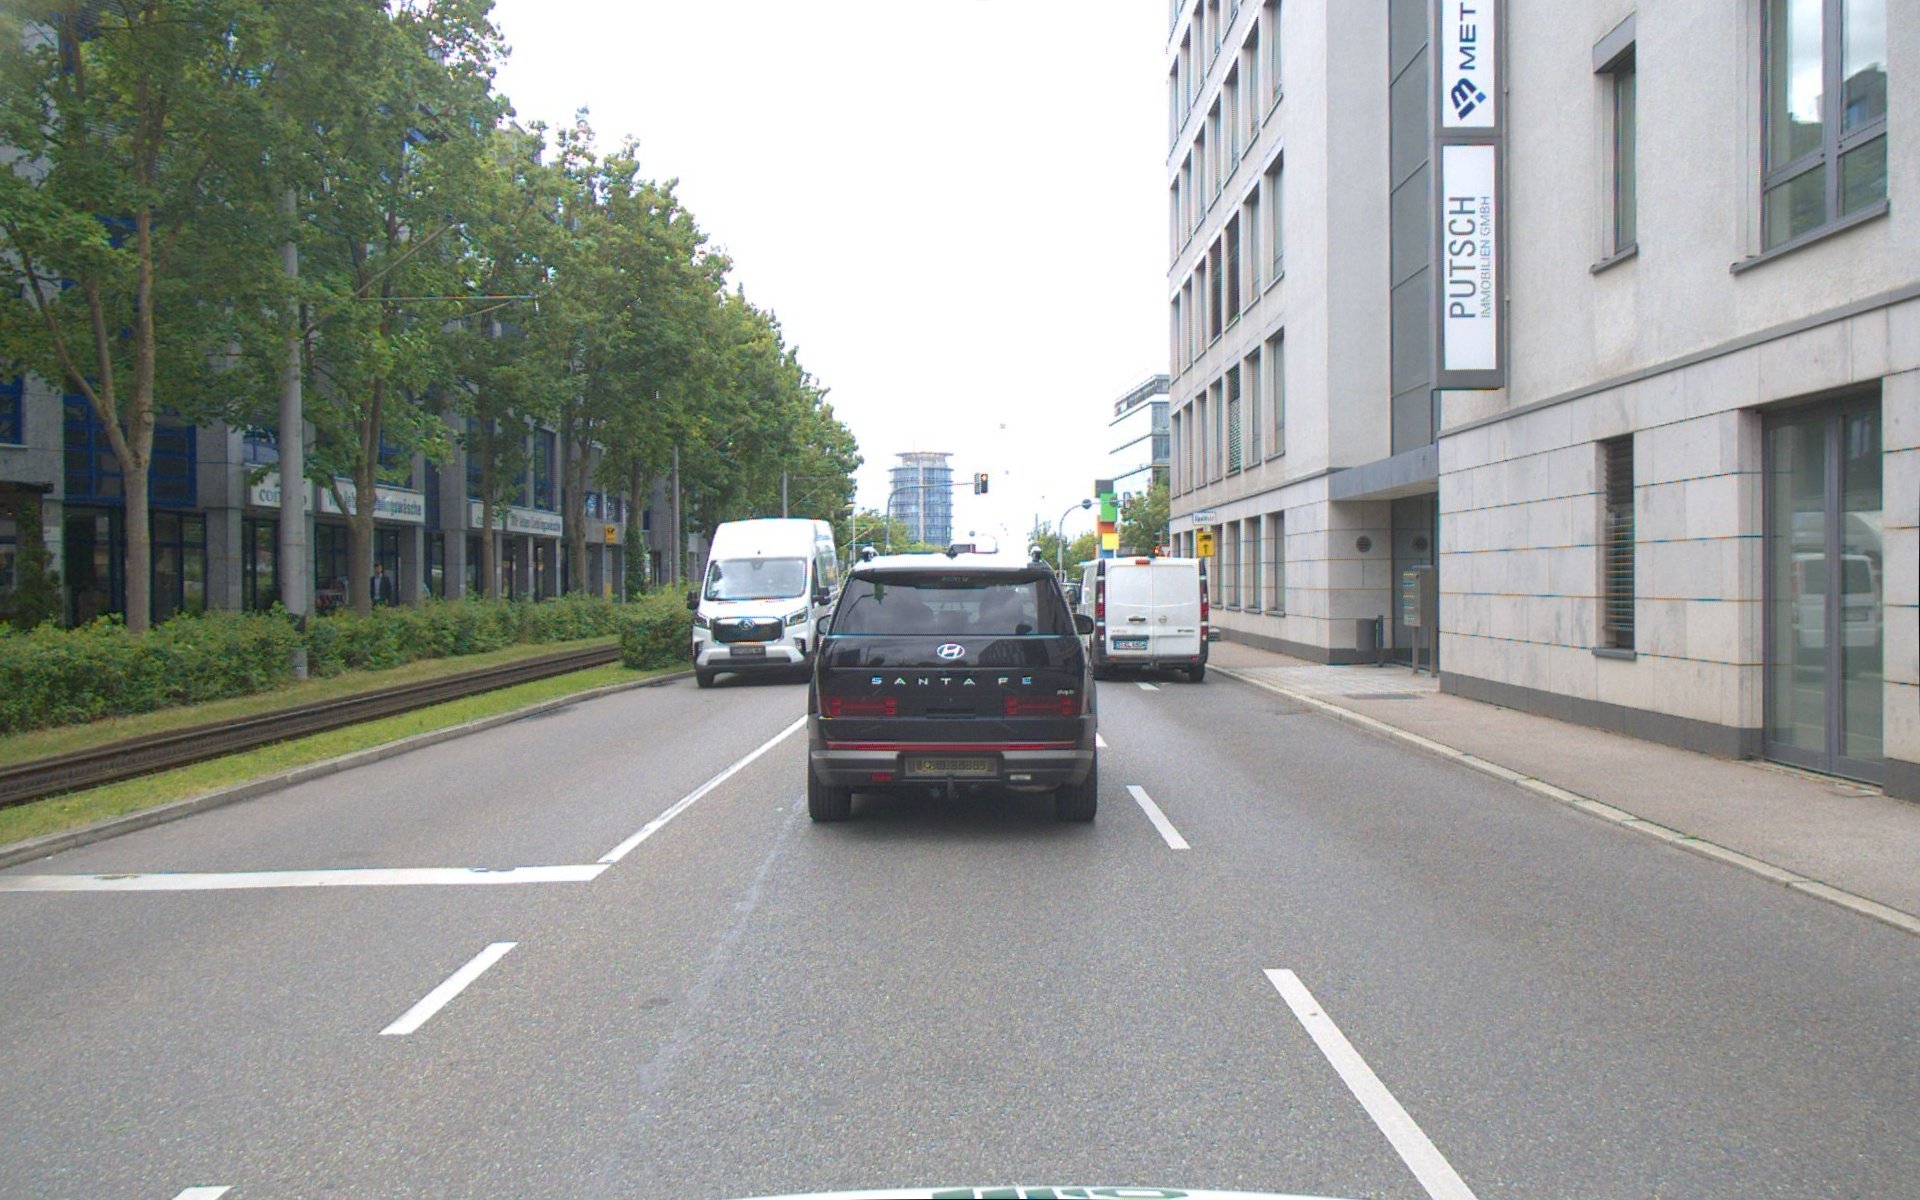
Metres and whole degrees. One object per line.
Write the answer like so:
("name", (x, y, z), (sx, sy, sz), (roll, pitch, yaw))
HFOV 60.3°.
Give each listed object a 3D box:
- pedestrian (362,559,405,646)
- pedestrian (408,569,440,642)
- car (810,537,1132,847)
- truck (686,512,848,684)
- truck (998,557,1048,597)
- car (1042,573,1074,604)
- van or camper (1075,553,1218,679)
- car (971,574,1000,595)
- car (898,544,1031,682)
("pedestrian", (-13.042, 0.050, 37.432), (0.661, 1.942, 0.622), (-2, 0, 1))
("pedestrian", (-15.297, 0.154, 47.223), (0.667, 2.049, 0.571), (-1, 1, 0))
("car", (-0.104, 0.506, 11.829), (1.871, 1.780, 4.392), (-1, 1, -5))
("truck", (-3.227, -0.076, 28.829), (2.121, 2.661, 5.796), (-1, 1, 0))
("truck", (4.462, -1.640, 118.813), (2.288, 2.795, 6.473), (-1, 1, -9))
("car", (5.384, -0.631, 90.894), (1.722, 1.637, 4.190), (-1, 1, 4))
("van or camper", (3.041, 0.204, 27.812), (1.952, 1.949, 4.332), (0, 1, 1))
("car", (2.009, -1.260, 132.210), (1.954, 1.646, 3.998), (-1, 1, -3))
("car", (-0.016, 0.158, 26.943), (1.893, 2.029, 4.533), (-1, 1, -3))
